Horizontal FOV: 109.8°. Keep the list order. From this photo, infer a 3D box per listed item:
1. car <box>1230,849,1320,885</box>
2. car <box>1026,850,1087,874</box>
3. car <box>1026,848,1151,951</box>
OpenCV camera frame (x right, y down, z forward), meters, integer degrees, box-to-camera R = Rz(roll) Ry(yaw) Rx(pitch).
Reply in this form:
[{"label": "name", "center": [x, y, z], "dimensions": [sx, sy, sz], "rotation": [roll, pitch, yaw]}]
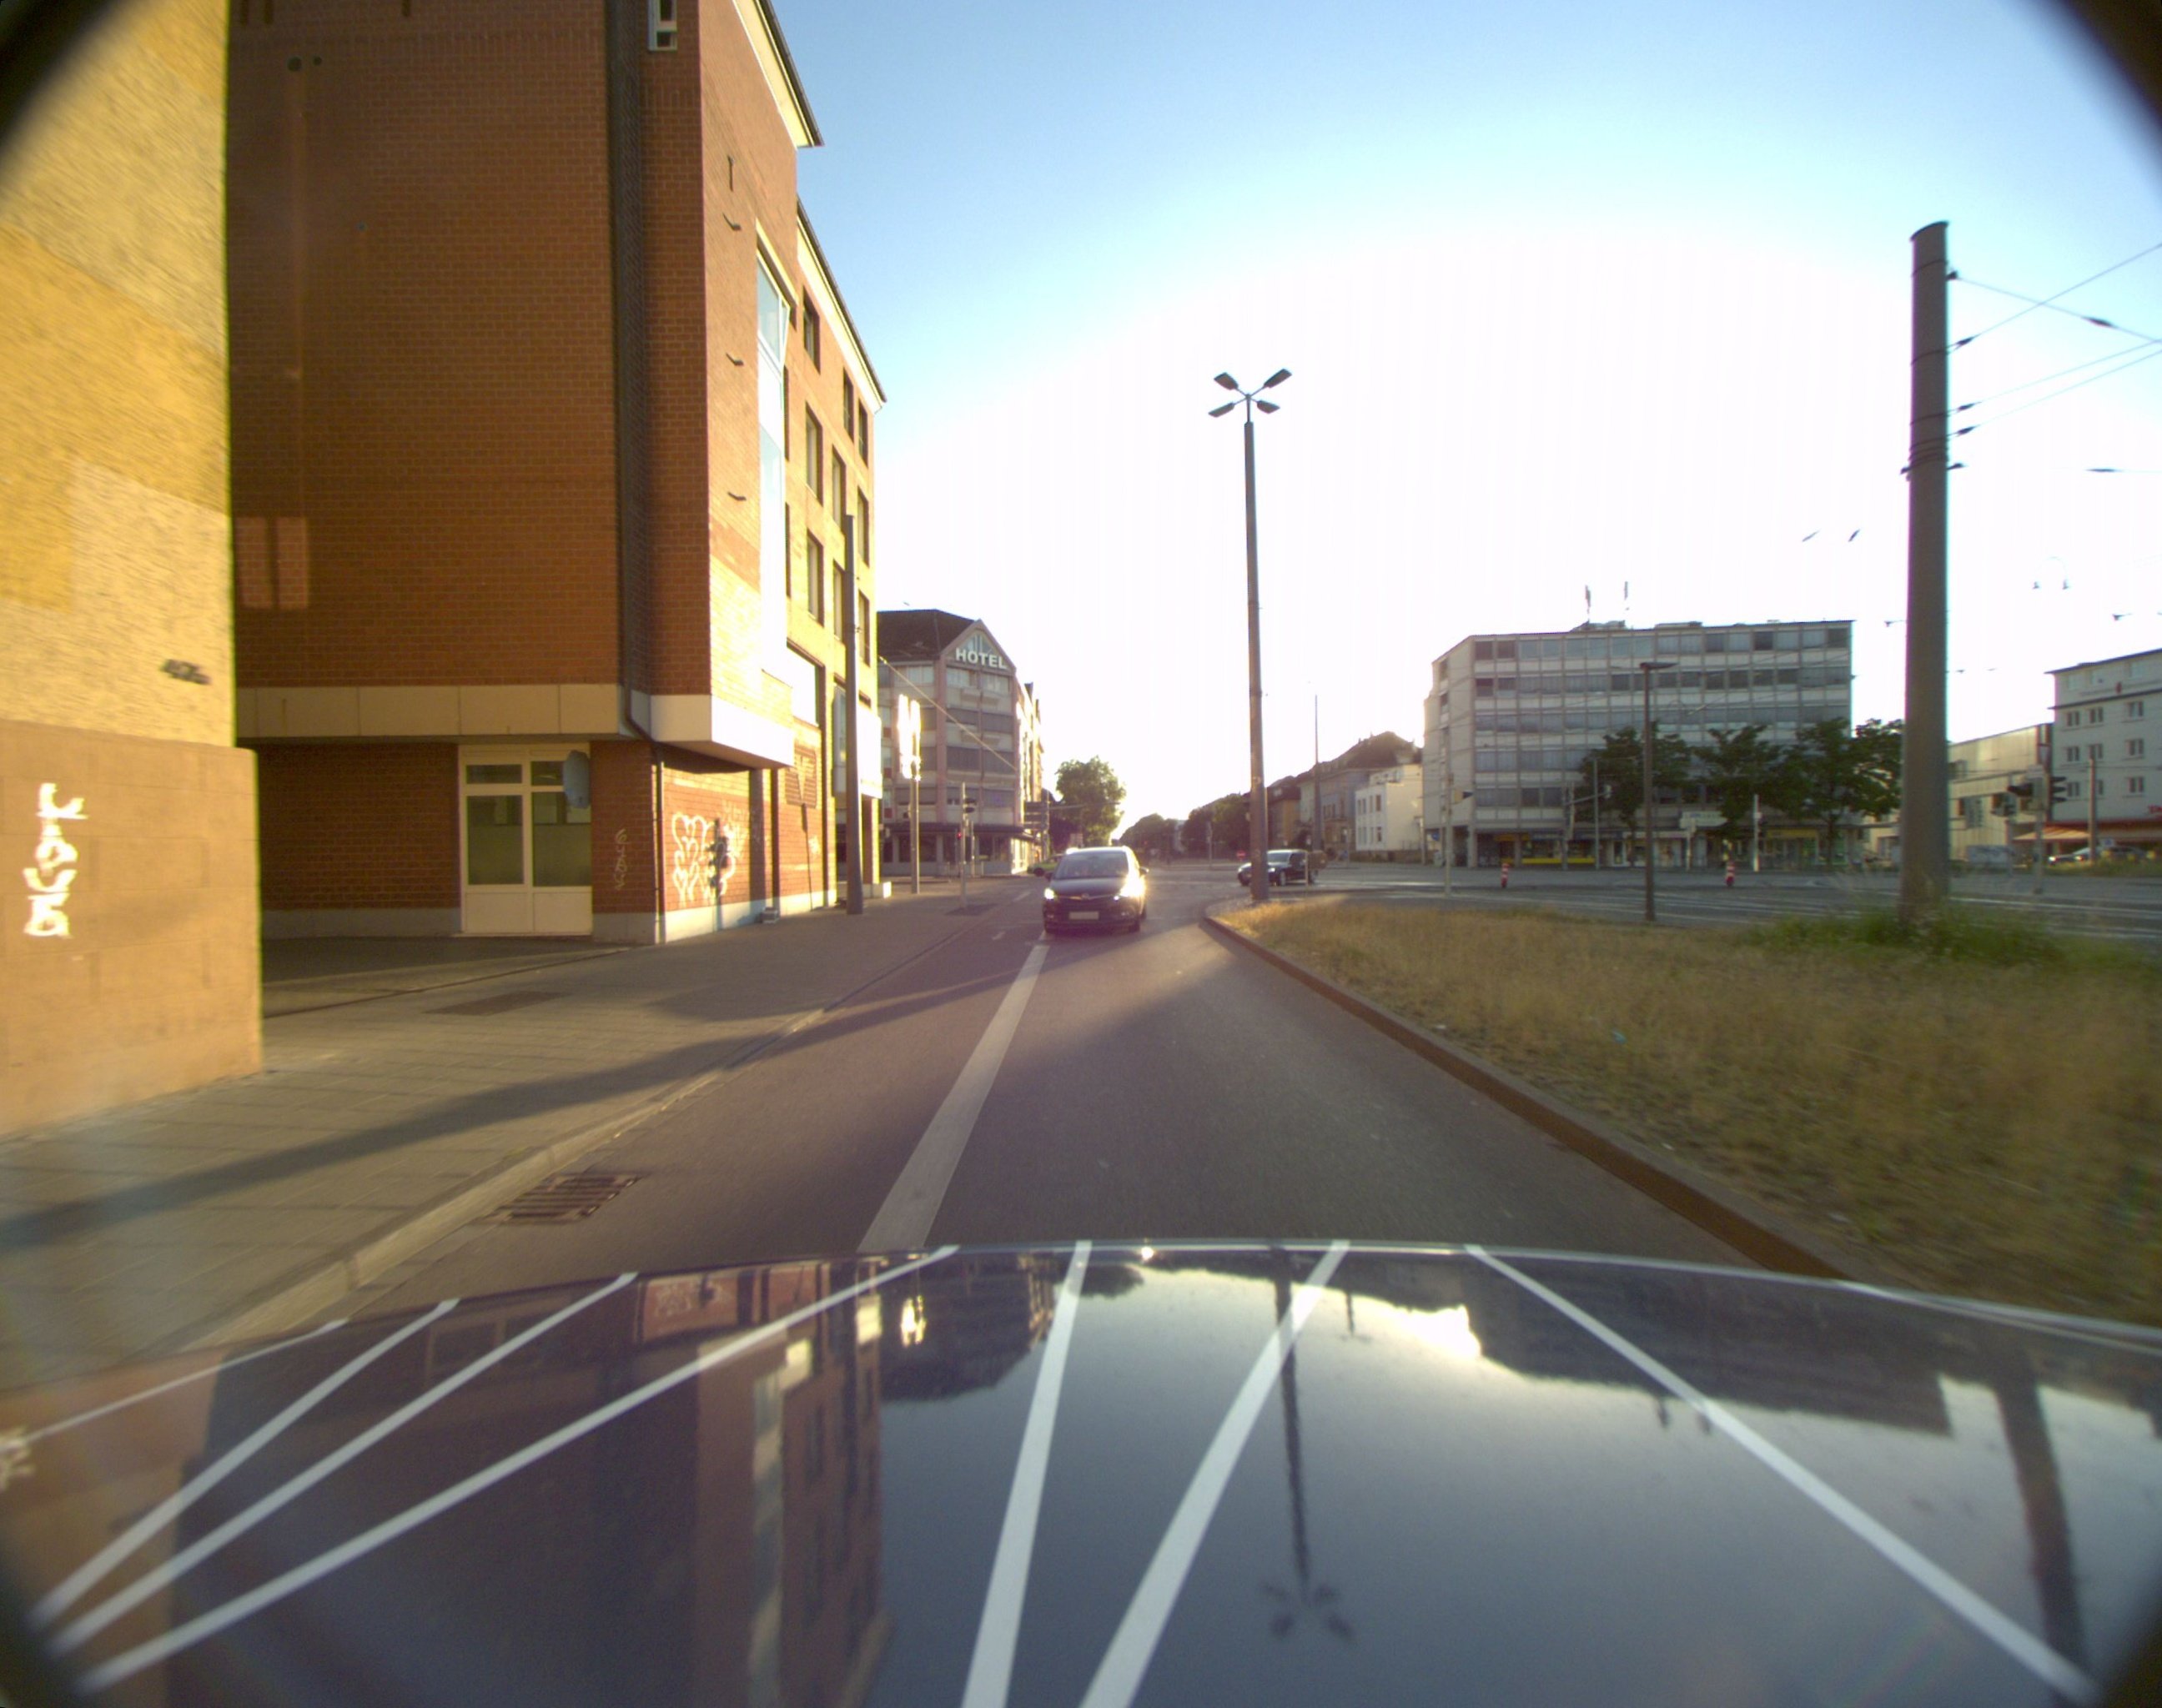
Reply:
[{"label": "car", "center": [8.154, 0.492, 31.653], "dimensions": [1.847, 1.400, 4.234], "rotation": [0, 0, 43]}, {"label": "car", "center": [-1.677, 0.541, 51.280], "dimensions": [4.022, 1.557, 1.749], "rotation": [0, 0, -3]}, {"label": "car", "center": [0.310, 0.751, 14.641], "dimensions": [1.799, 1.609, 4.389], "rotation": [-3, 0, 8]}]
